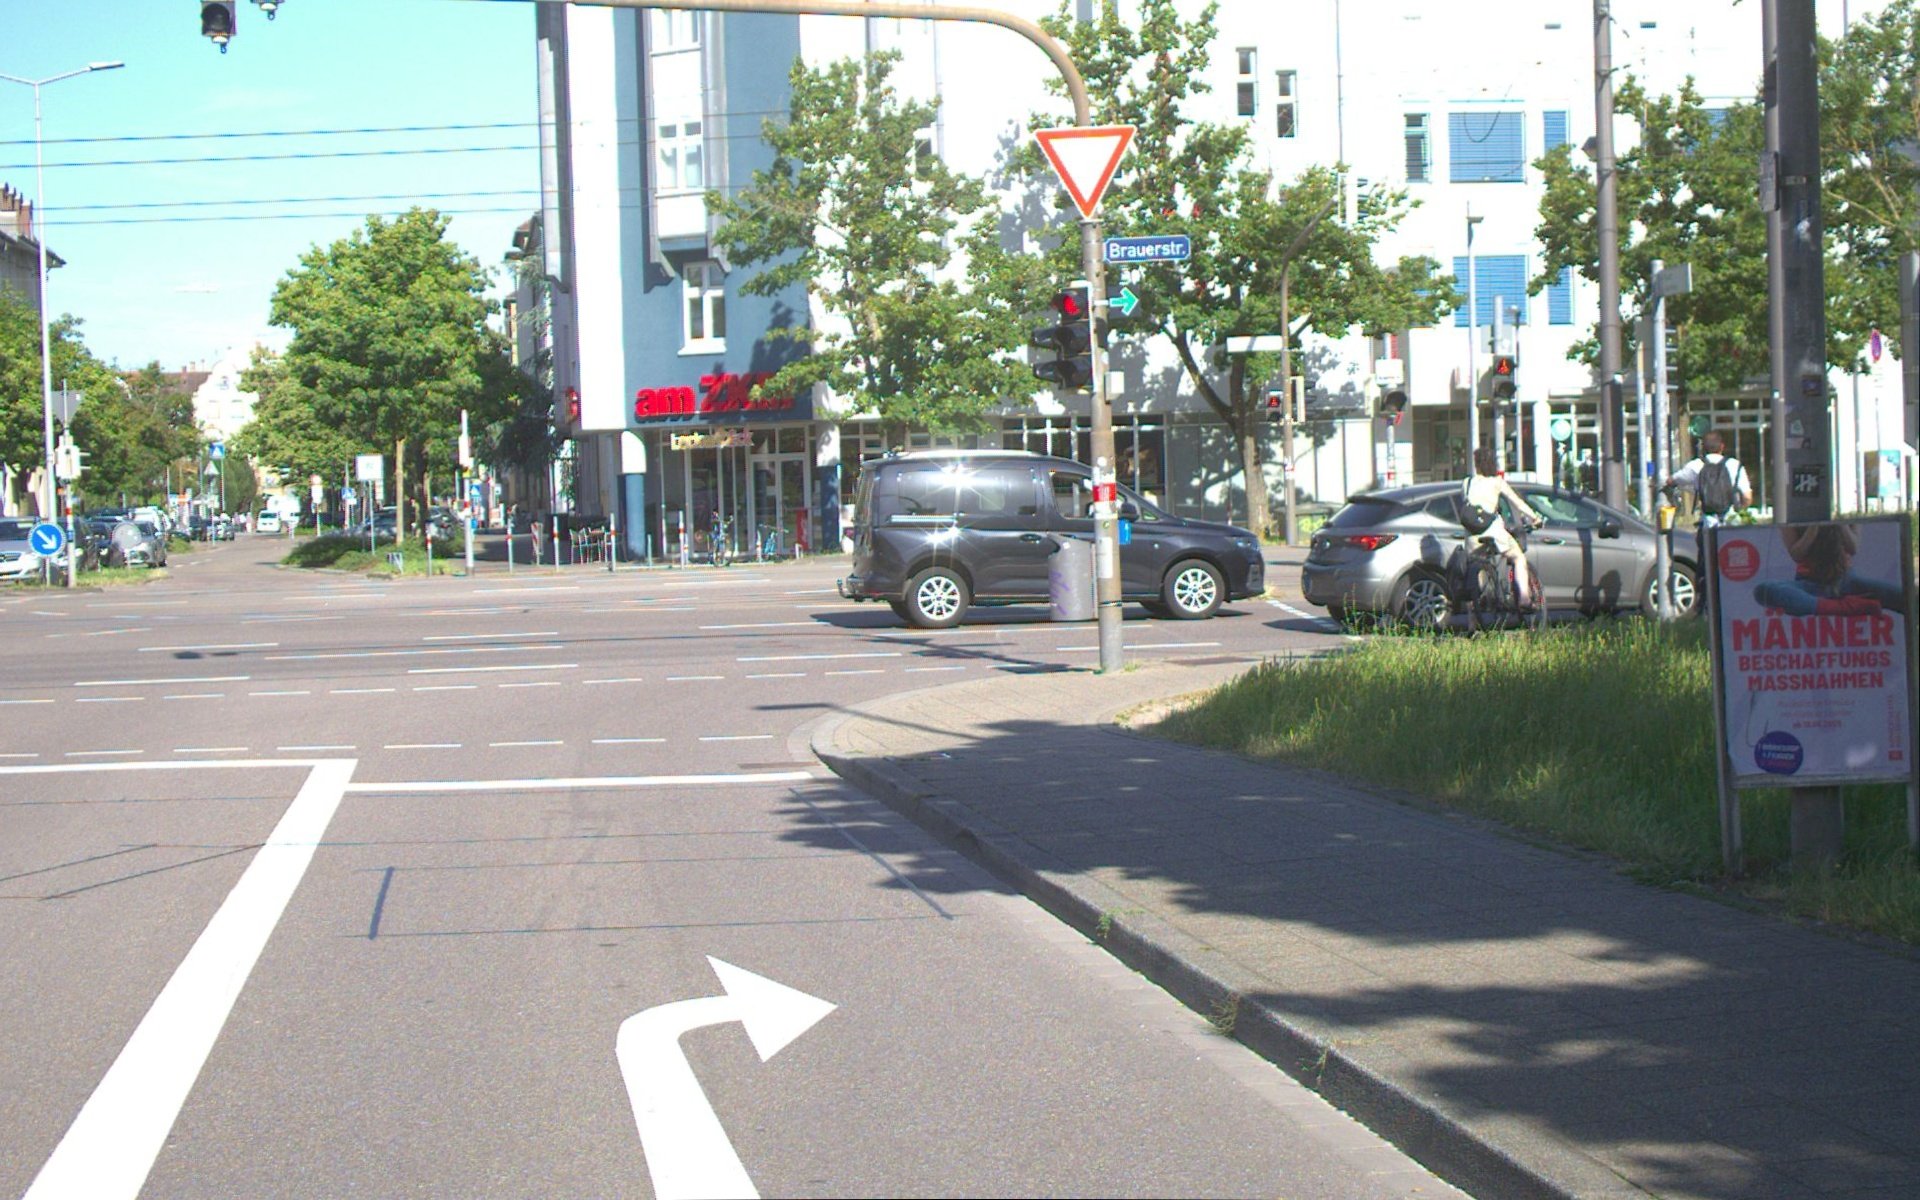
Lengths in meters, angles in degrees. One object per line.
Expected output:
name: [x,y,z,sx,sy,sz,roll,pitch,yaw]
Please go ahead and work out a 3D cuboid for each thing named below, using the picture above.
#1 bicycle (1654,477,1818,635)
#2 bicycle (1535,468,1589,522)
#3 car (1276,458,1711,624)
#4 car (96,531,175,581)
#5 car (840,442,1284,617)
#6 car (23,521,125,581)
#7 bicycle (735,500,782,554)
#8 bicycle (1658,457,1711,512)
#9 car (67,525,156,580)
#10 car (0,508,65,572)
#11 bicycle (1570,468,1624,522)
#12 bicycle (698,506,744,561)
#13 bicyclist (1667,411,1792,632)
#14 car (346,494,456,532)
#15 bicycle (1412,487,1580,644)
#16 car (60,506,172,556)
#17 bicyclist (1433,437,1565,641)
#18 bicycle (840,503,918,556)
bicycle: [7.114,-0.418,31.443,0.791,1.343,2.259,-1,2,30]
bicycle: [13.393,-2.331,76.469,0.560,1.178,1.870,-2,2,-9]
car: [5.234,-0.572,33.847,3.857,1.572,1.694,0,1,-17]
car: [-24.564,-1.325,102.534,1.688,1.427,4.401,0,1,-6]
car: [1.065,-0.749,36.930,4.481,1.794,1.765,0,1,-10]
car: [-22.076,-1.241,85.829,1.688,1.427,4.401,0,1,-4]
bicycle: [-3.936,-1.431,67.038,0.471,1.023,1.517,-3,2,-20]
bicycle: [16.151,-2.572,76.719,0.560,1.178,1.870,-2,2,-6]
car: [-22.606,-1.282,91.758,1.688,1.427,4.401,0,1,-6]
car: [-21.773,-1.384,78.916,1.688,1.427,4.401,0,1,-6]
bicycle: [14.243,-2.339,76.893,0.560,1.178,1.870,-2,2,-9]
bicycle: [-4.626,-1.284,66.426,0.471,1.023,1.517,-3,2,-19]
bicyclist: [7.004,-0.720,31.272,0.791,1.952,1.009,-1,2,30]
car: [-19.235,-2.981,118.203,3.566,1.219,1.731,-1,1,-14]
bicycle: [4.956,-0.333,31.649,0.791,1.343,2.075,-1,2,30]
car: [-36.044,-2.937,146.965,4.504,2.007,2.001,-1,1,-10]
bicyclist: [4.972,-0.570,31.664,0.791,1.818,1.133,-1,2,30]
bicycle: [-1.623,-1.419,69.099,1.511,1.023,0.473,-2,2,3]
